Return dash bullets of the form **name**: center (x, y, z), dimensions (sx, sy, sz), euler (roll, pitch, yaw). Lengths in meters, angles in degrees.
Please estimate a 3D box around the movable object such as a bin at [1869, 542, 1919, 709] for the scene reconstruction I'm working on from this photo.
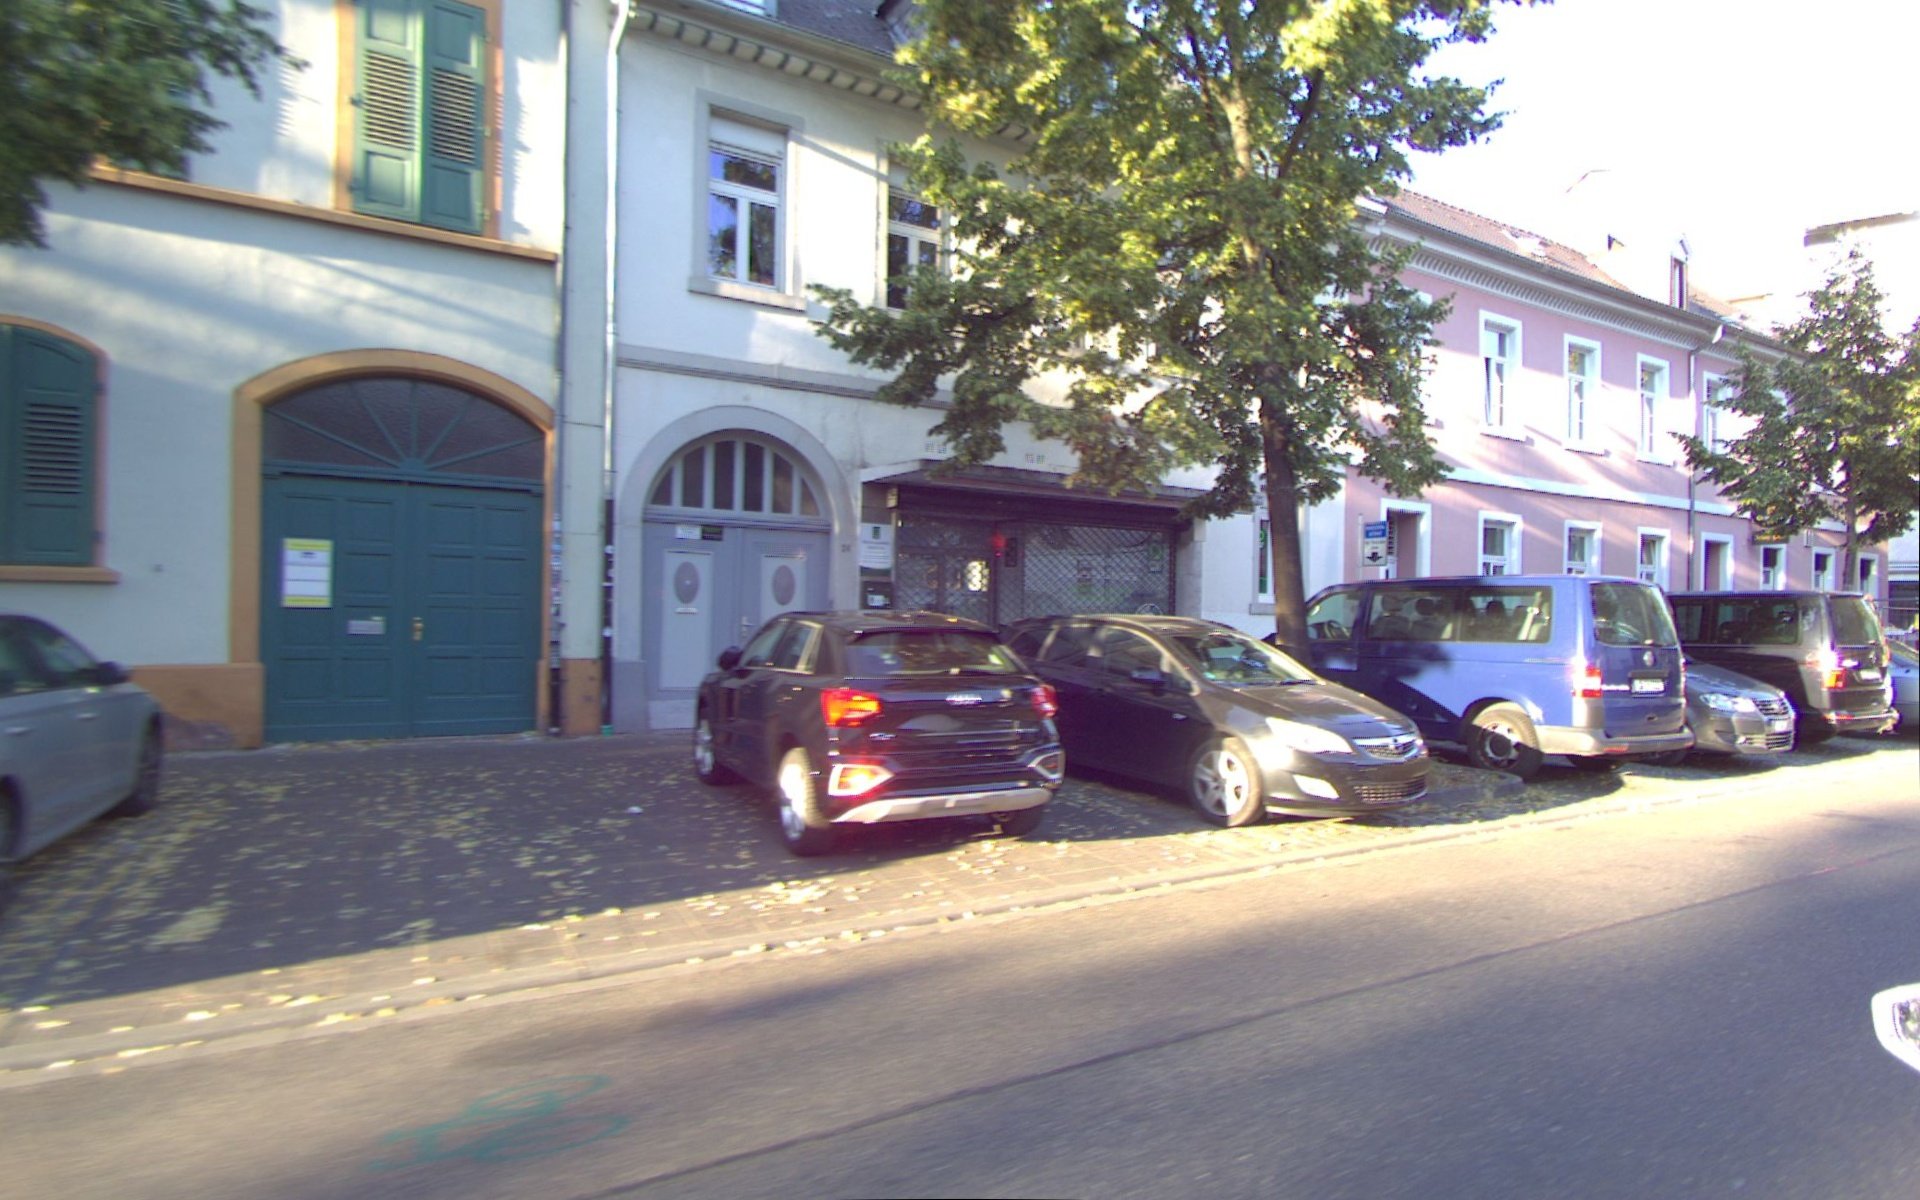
- **movable object such as a bin**: center (19.848, 0.501, 18.902), dimensions (5.241, 3.008, 2.612), euler (1, -1, -30)

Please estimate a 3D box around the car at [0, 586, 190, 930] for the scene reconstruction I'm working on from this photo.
- **car**: center (-5.543, 0.671, 5.162), dimensions (1.711, 1.505, 4.461), euler (1, 0, -27)

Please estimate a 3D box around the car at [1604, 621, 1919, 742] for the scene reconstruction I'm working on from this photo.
- **car**: center (12.649, 1.119, 15.224), dimensions (1.868, 1.489, 4.578), euler (1, 0, -26)

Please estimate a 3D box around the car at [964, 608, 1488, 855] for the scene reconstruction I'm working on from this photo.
- **car**: center (2.001, 0.880, 8.800), dimensions (1.823, 1.521, 4.298), euler (1, 0, -34)

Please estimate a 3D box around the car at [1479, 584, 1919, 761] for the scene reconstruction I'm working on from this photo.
- **car**: center (9.816, 0.807, 13.750), dimensions (1.943, 2.002, 4.460), euler (1, 0, -31)

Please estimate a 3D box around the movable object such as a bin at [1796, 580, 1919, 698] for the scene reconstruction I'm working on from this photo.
- **movable object such as a bin**: center (22.541, 0.890, 22.316), dimensions (5.638, 2.528, 2.315), euler (1, -1, 14)

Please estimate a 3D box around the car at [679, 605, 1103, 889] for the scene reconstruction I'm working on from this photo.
- **car**: center (-0.806, 0.834, 7.702), dimensions (1.880, 1.521, 3.908), euler (1, 0, -27)

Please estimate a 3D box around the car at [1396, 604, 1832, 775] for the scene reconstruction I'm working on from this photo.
- **car**: center (7.736, 0.924, 12.340), dimensions (1.837, 1.658, 4.112), euler (1, 0, -29)

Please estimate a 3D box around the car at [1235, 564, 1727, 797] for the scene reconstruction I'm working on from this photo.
- **car**: center (5.408, 0.705, 11.112), dimensions (2.043, 2.002, 4.464), euler (1, 0, -29)
